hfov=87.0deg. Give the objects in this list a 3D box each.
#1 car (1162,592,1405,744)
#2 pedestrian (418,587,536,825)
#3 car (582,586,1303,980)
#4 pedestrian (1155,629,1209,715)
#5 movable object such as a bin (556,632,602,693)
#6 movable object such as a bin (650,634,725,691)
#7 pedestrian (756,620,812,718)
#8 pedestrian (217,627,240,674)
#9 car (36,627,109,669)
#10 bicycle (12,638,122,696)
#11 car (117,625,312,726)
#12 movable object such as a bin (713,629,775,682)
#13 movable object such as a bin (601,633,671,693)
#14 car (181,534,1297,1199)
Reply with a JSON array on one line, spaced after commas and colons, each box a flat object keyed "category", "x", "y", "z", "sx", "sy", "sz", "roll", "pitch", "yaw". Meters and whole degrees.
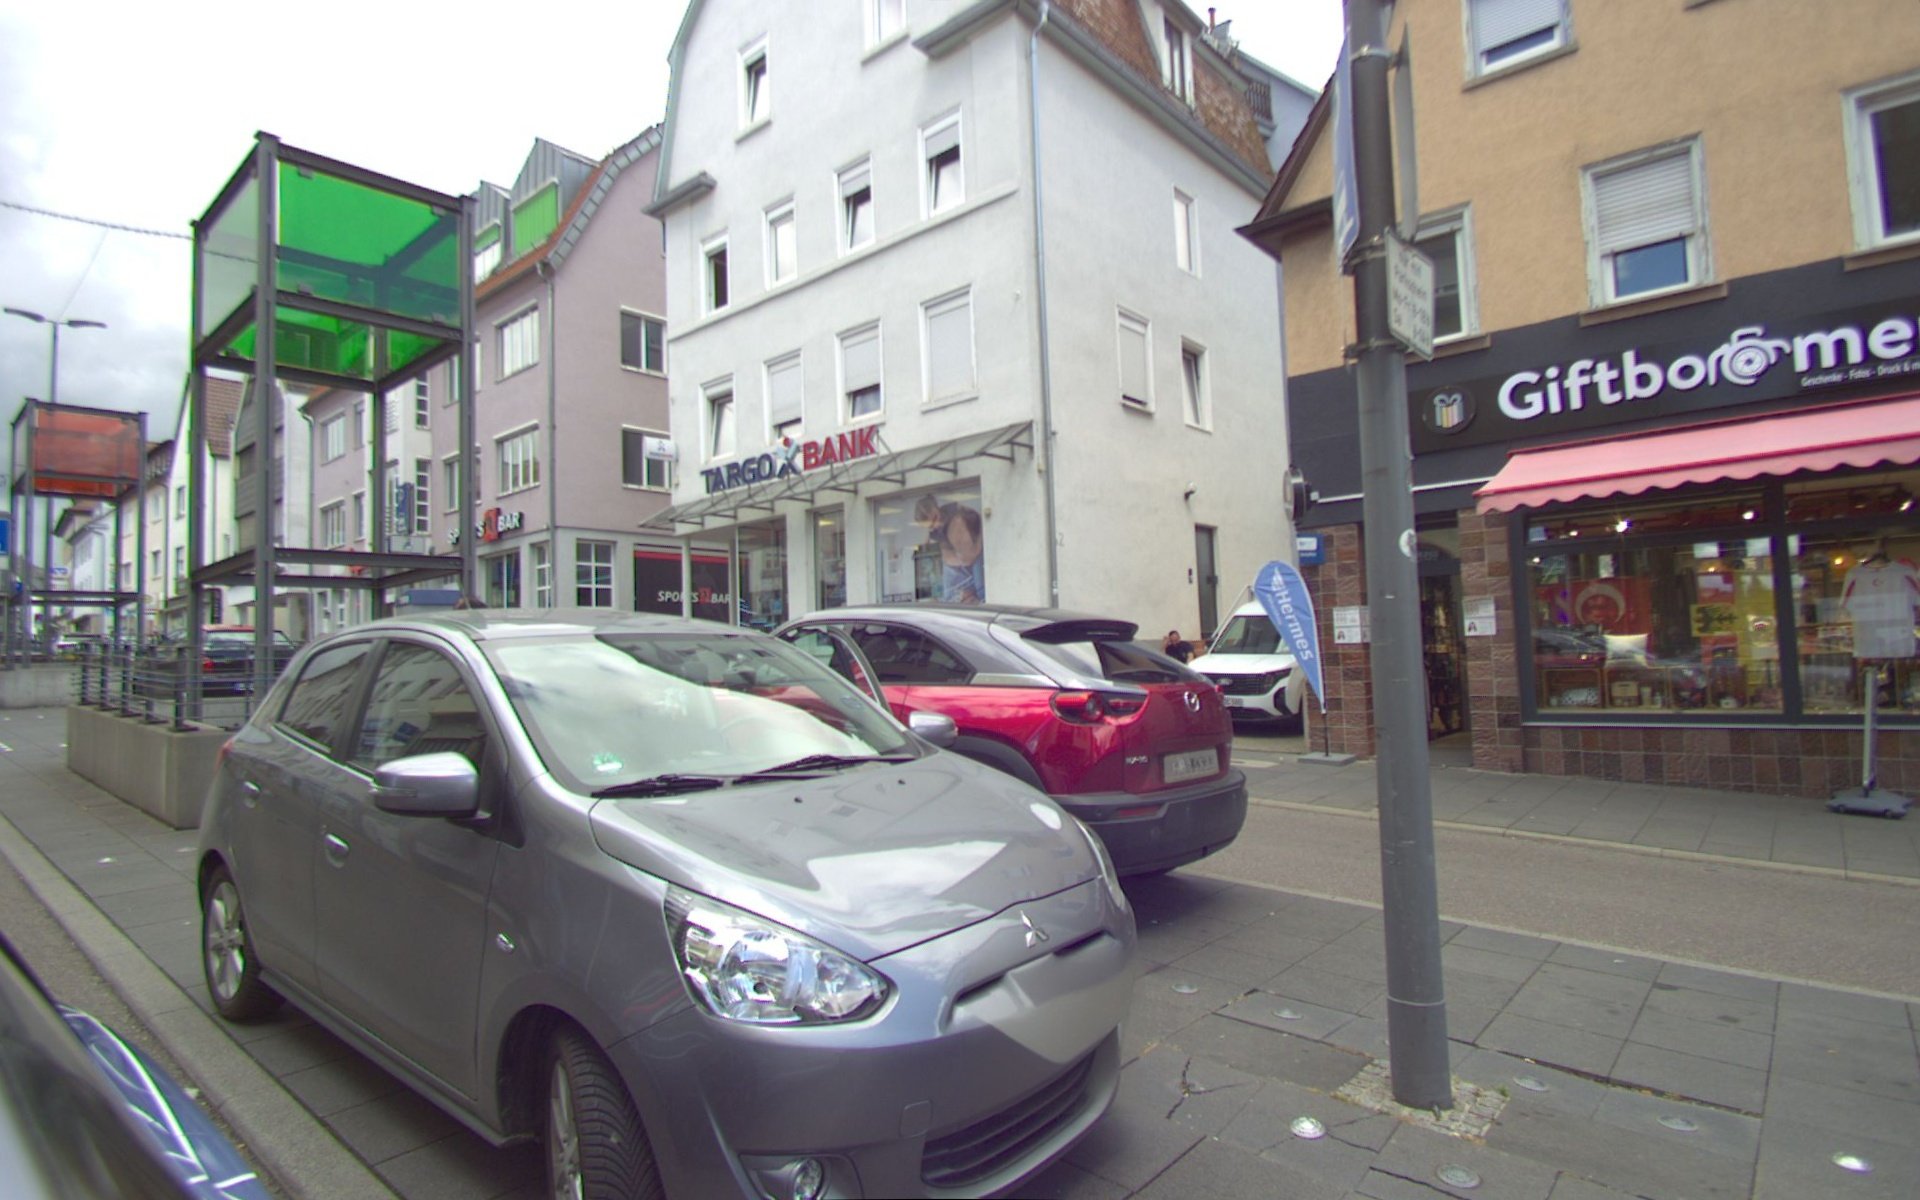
[{"category": "car", "x": 4.897, "y": 0.877, "z": 15.022, "sx": 1.883, "sy": 1.887, "sz": 4.027, "roll": -2, "pitch": -1, "yaw": 42}, {"category": "pedestrian", "x": -3.684, "y": 0.769, "z": 7.697, "sx": 0.901, "sy": 1.685, "sz": 0.527, "roll": -3, "pitch": -2, "yaw": 44}, {"category": "car", "x": -0.338, "y": 0.785, "z": 6.031, "sx": 4.189, "sy": 1.555, "sz": 1.721, "roll": -1, "pitch": -3, "yaw": 40}, {"category": "pedestrian", "x": 3.551, "y": 1.135, "z": 16.189, "sx": 0.606, "sy": 1.329, "sz": 0.619, "roll": -2, "pitch": -2, "yaw": 40}, {"category": "movable object such as a bin", "x": -8.891, "y": 1.449, "z": 23.617, "sx": 0.807, "sy": 1.387, "sz": 0.682, "roll": -2, "pitch": -2, "yaw": 41}, {"category": "movable object such as a bin", "x": -6.884, "y": 1.555, "z": 25.609, "sx": 1.406, "sy": 1.387, "sz": 1.270, "roll": -2, "pitch": -2, "yaw": 41}, {"category": "pedestrian", "x": -2.924, "y": 1.133, "z": 16.811, "sx": 0.716, "sy": 1.585, "sz": 0.559, "roll": -2, "pitch": -4, "yaw": 41}, {"category": "pedestrian", "x": -27.312, "y": 1.879, "z": 37.799, "sx": 0.513, "sy": 1.729, "sz": 0.584, "roll": -1, "pitch": -1, "yaw": 41}, {"category": "car", "x": -36.304, "y": 1.930, "z": 41.367, "sx": 4.120, "sy": 1.583, "sz": 1.662, "roll": -1, "pitch": -1, "yaw": 41}, {"category": "bicycle", "x": -19.774, "y": 1.470, "z": 22.445, "sx": 0.459, "sy": 1.232, "sz": 1.760, "roll": -1, "pitch": -3, "yaw": 40}, {"category": "car", "x": -12.371, "y": 1.180, "z": 16.729, "sx": 3.850, "sy": 1.486, "sz": 1.554, "roll": -1, "pitch": -3, "yaw": 38}, {"category": "movable object such as a bin", "x": -5.813, "y": 1.473, "z": 27.285, "sx": 1.043, "sy": 1.387, "sz": 1.270, "roll": -2, "pitch": -2, "yaw": 40}, {"category": "movable object such as a bin", "x": -7.924, "y": 1.518, "z": 24.784, "sx": 1.067, "sy": 1.387, "sz": 1.270, "roll": -2, "pitch": -2, "yaw": 40}, {"category": "car", "x": -1.032, "y": 0.705, "z": 3.237, "sx": 3.668, "sy": 1.544, "sz": 1.603, "roll": -1, "pitch": -1, "yaw": 41}]
